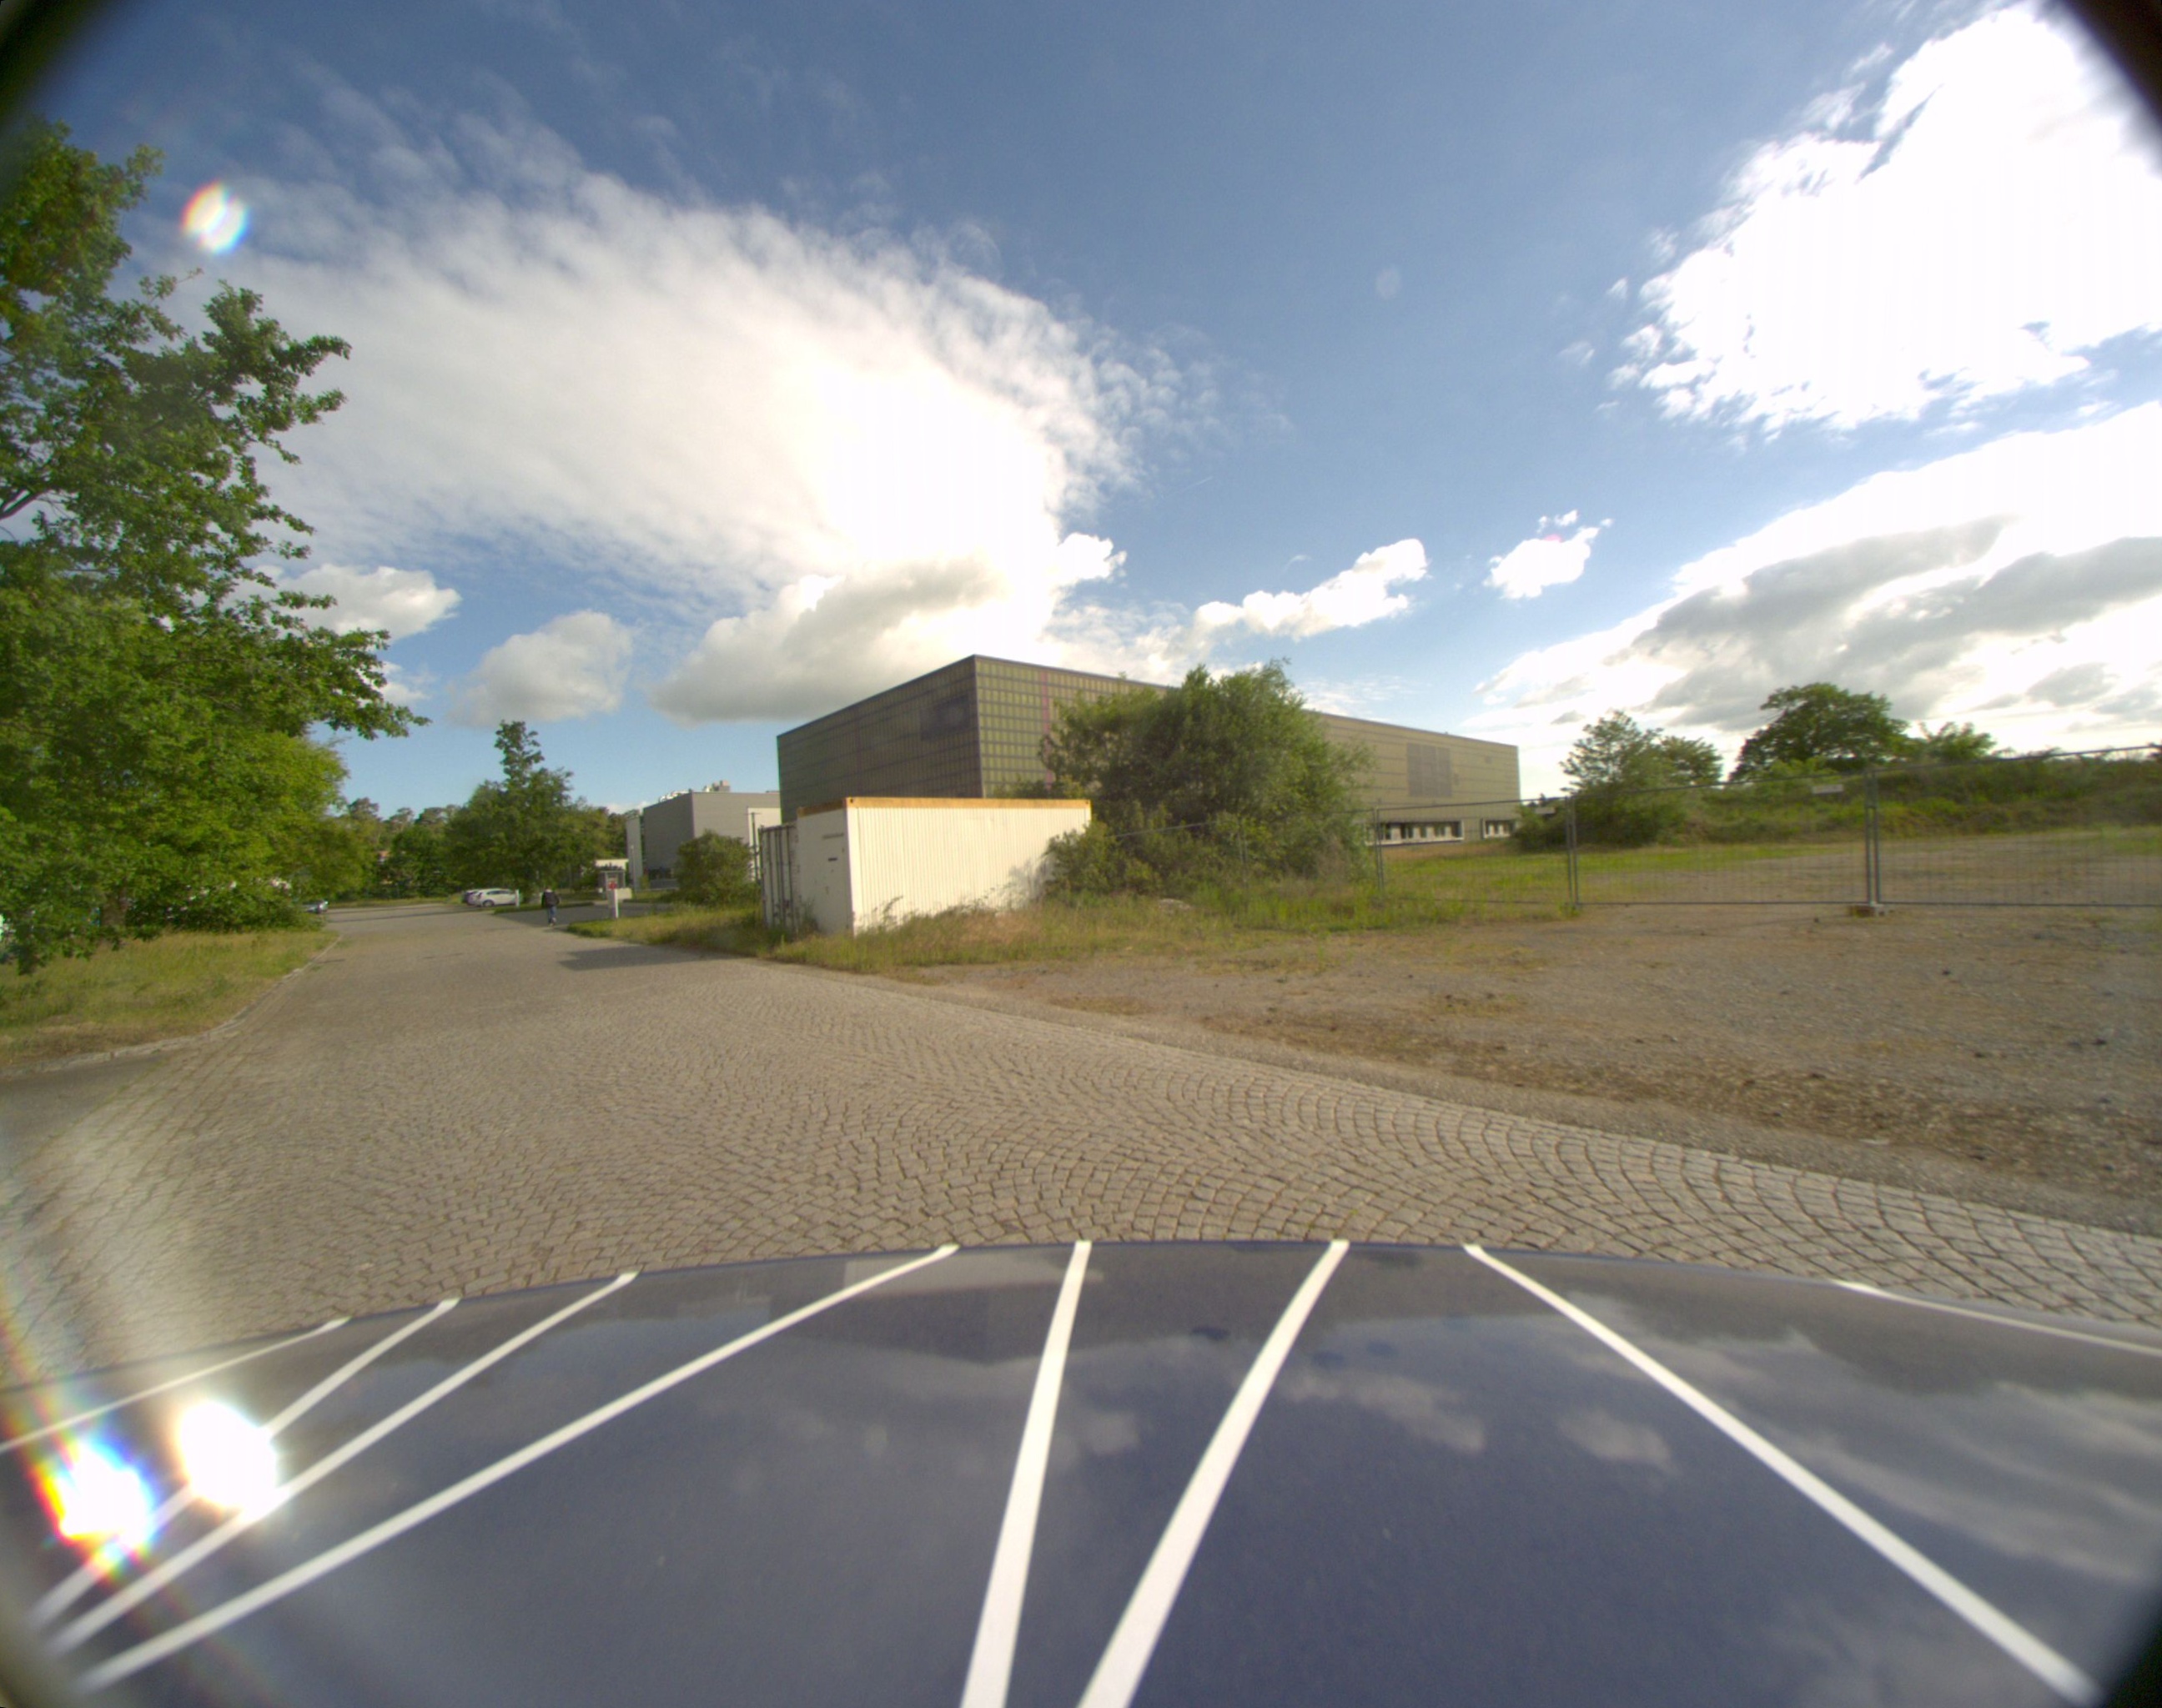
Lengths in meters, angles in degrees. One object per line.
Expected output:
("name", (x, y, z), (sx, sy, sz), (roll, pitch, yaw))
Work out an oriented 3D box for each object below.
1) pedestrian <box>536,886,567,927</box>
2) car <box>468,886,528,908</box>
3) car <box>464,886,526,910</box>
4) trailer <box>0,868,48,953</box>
("pedestrian", (-20.979, 2.070, 30.140), (0.869, 1.550, 1.025), (-4, 1, -32))
("car", (-50.356, 3.694, 65.700), (4.007, 1.633, 1.995), (-3, 0, -37))
("car", (-48.858, 3.627, 63.428), (4.007, 1.633, 1.995), (-3, 0, -37))
("trailer", (-44.885, 2.331, 29.769), (2.932, 3.451, 9.875), (-4, 0, -41))
